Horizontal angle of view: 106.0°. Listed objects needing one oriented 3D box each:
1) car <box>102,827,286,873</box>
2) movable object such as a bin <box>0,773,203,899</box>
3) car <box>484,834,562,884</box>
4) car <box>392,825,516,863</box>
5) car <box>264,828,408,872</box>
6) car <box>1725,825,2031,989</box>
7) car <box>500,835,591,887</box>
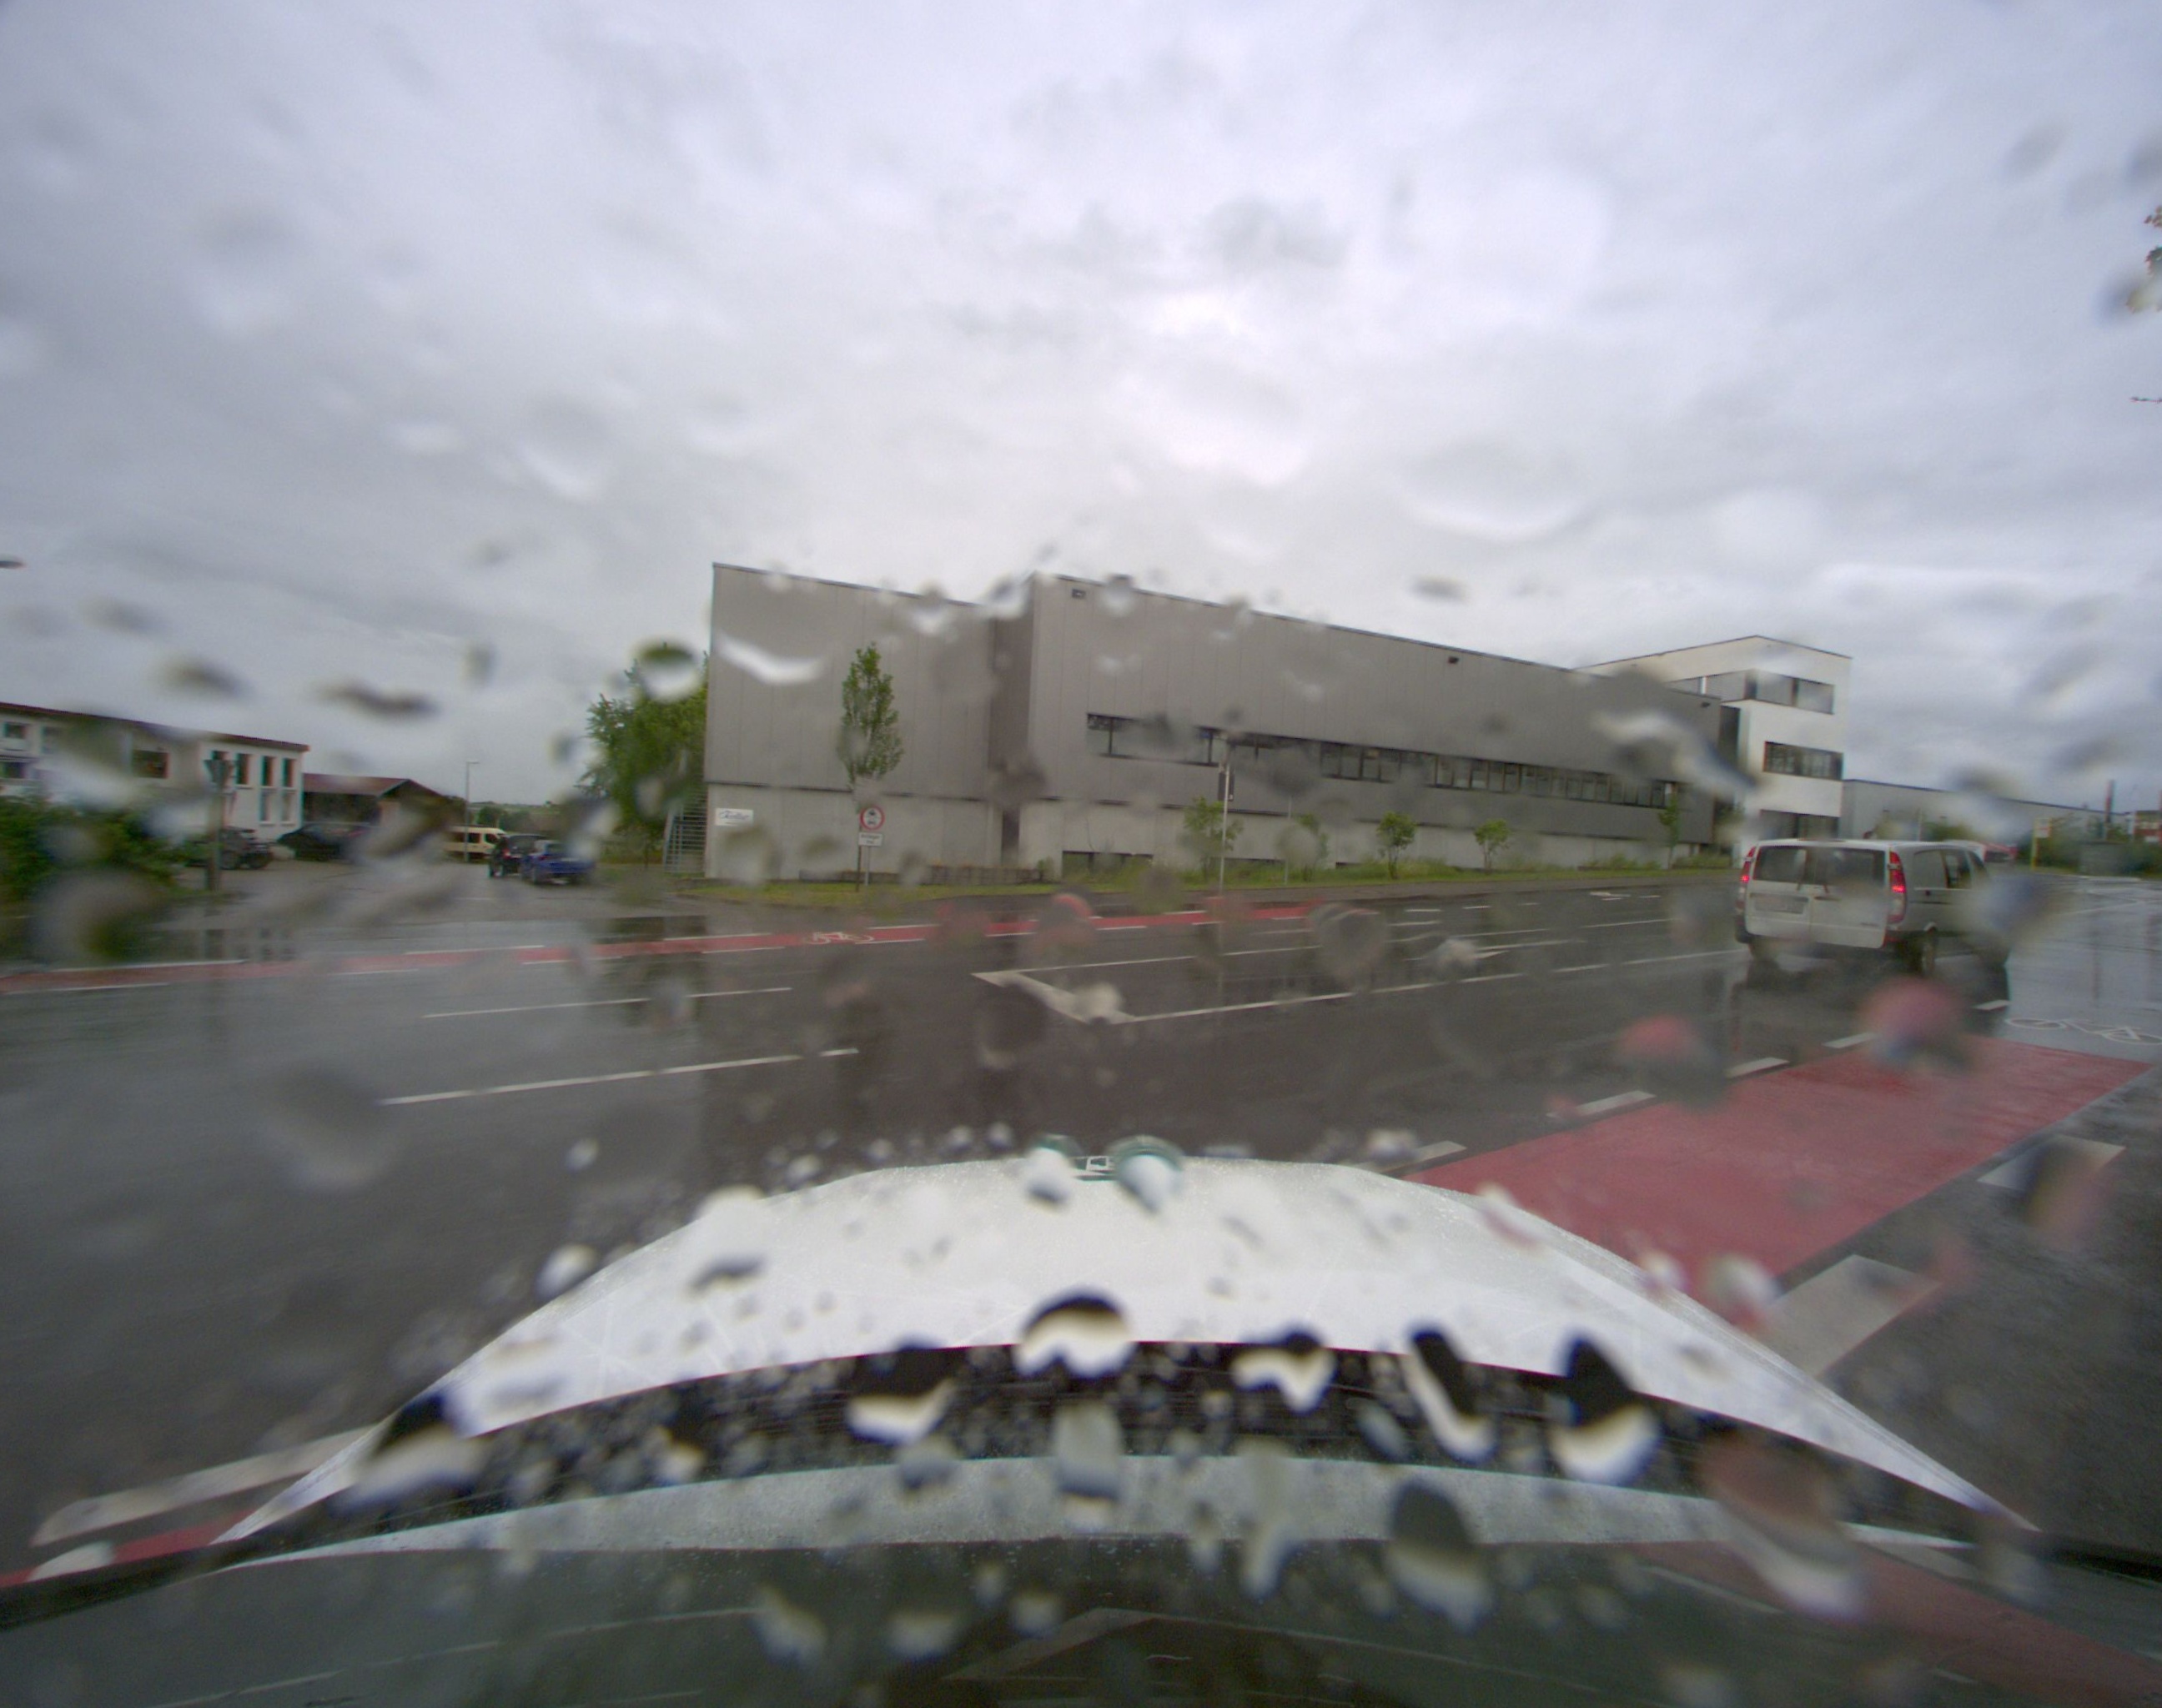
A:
[{"bbox_3d":[-31.863,-0.122,29.418,3.997,1.555,1.988,0,0,-18],"label":"car"},{"bbox_3d":[-21.897,-0.363,18.242,1.740,2.556,3.315,1,0,-22],"label":"movable object such as a bin"},{"bbox_3d":[-22.314,0.183,32.484,2.092,1.835,4.417,1,0,-41],"label":"car"},{"bbox_3d":[-41.635,-0.650,54.264,6.022,2.415,2.450,0,0,-17],"label":"car"},{"bbox_3d":[-34.079,-0.164,37.397,4.403,1.905,1.990,0,0,-15],"label":"car"},{"bbox_3d":[12.018,0.659,12.179,5.388,2.018,1.887,0,0,-30],"label":"car"},{"bbox_3d":[-18.353,0.219,27.829,1.968,1.610,4.393,1,0,-42],"label":"car"}]
